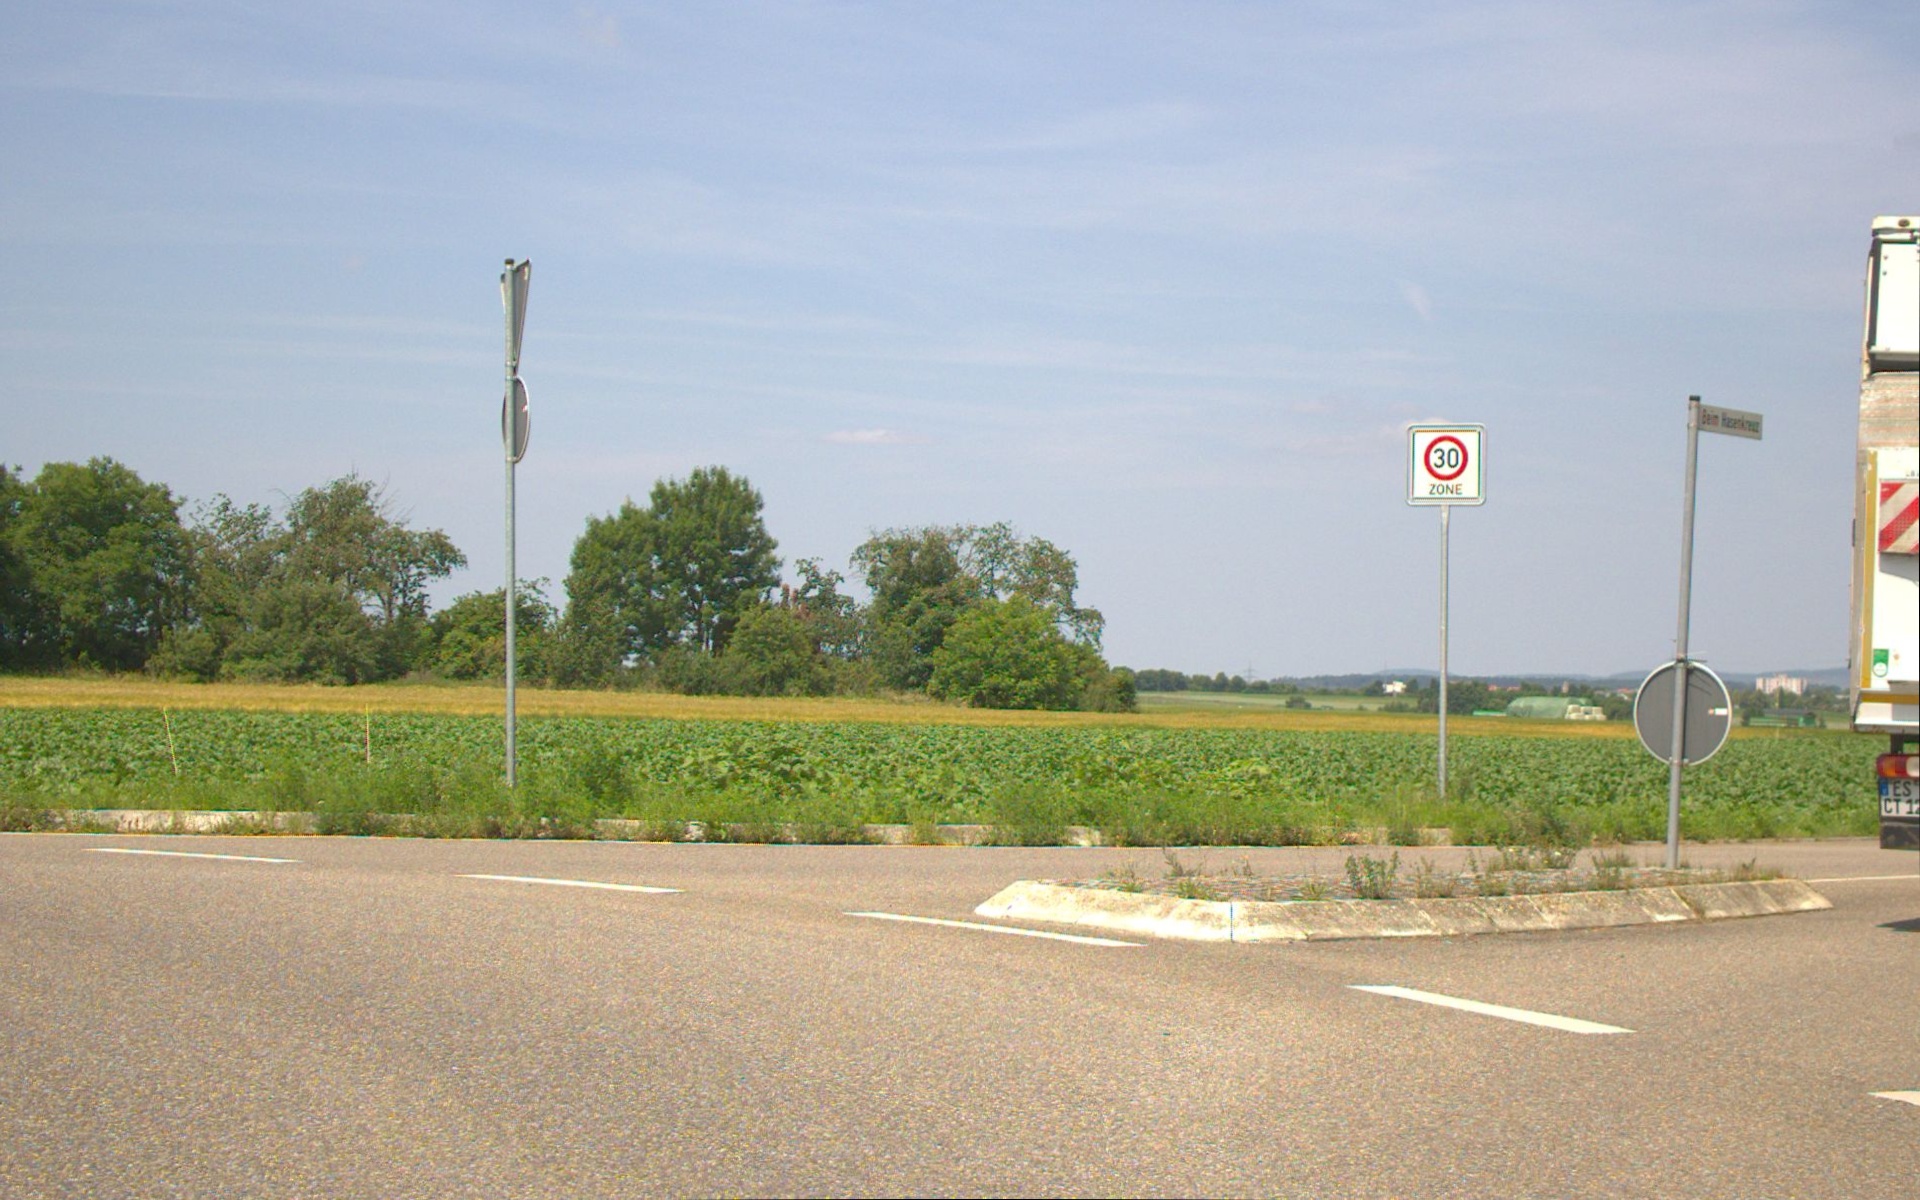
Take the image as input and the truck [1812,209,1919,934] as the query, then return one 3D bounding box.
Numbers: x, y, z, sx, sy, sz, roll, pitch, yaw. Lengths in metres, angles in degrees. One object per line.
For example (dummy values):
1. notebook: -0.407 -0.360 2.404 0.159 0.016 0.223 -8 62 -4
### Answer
1. truck: 7.825 0.026 21.076 2.771 3.658 9.367 2 -1 28
